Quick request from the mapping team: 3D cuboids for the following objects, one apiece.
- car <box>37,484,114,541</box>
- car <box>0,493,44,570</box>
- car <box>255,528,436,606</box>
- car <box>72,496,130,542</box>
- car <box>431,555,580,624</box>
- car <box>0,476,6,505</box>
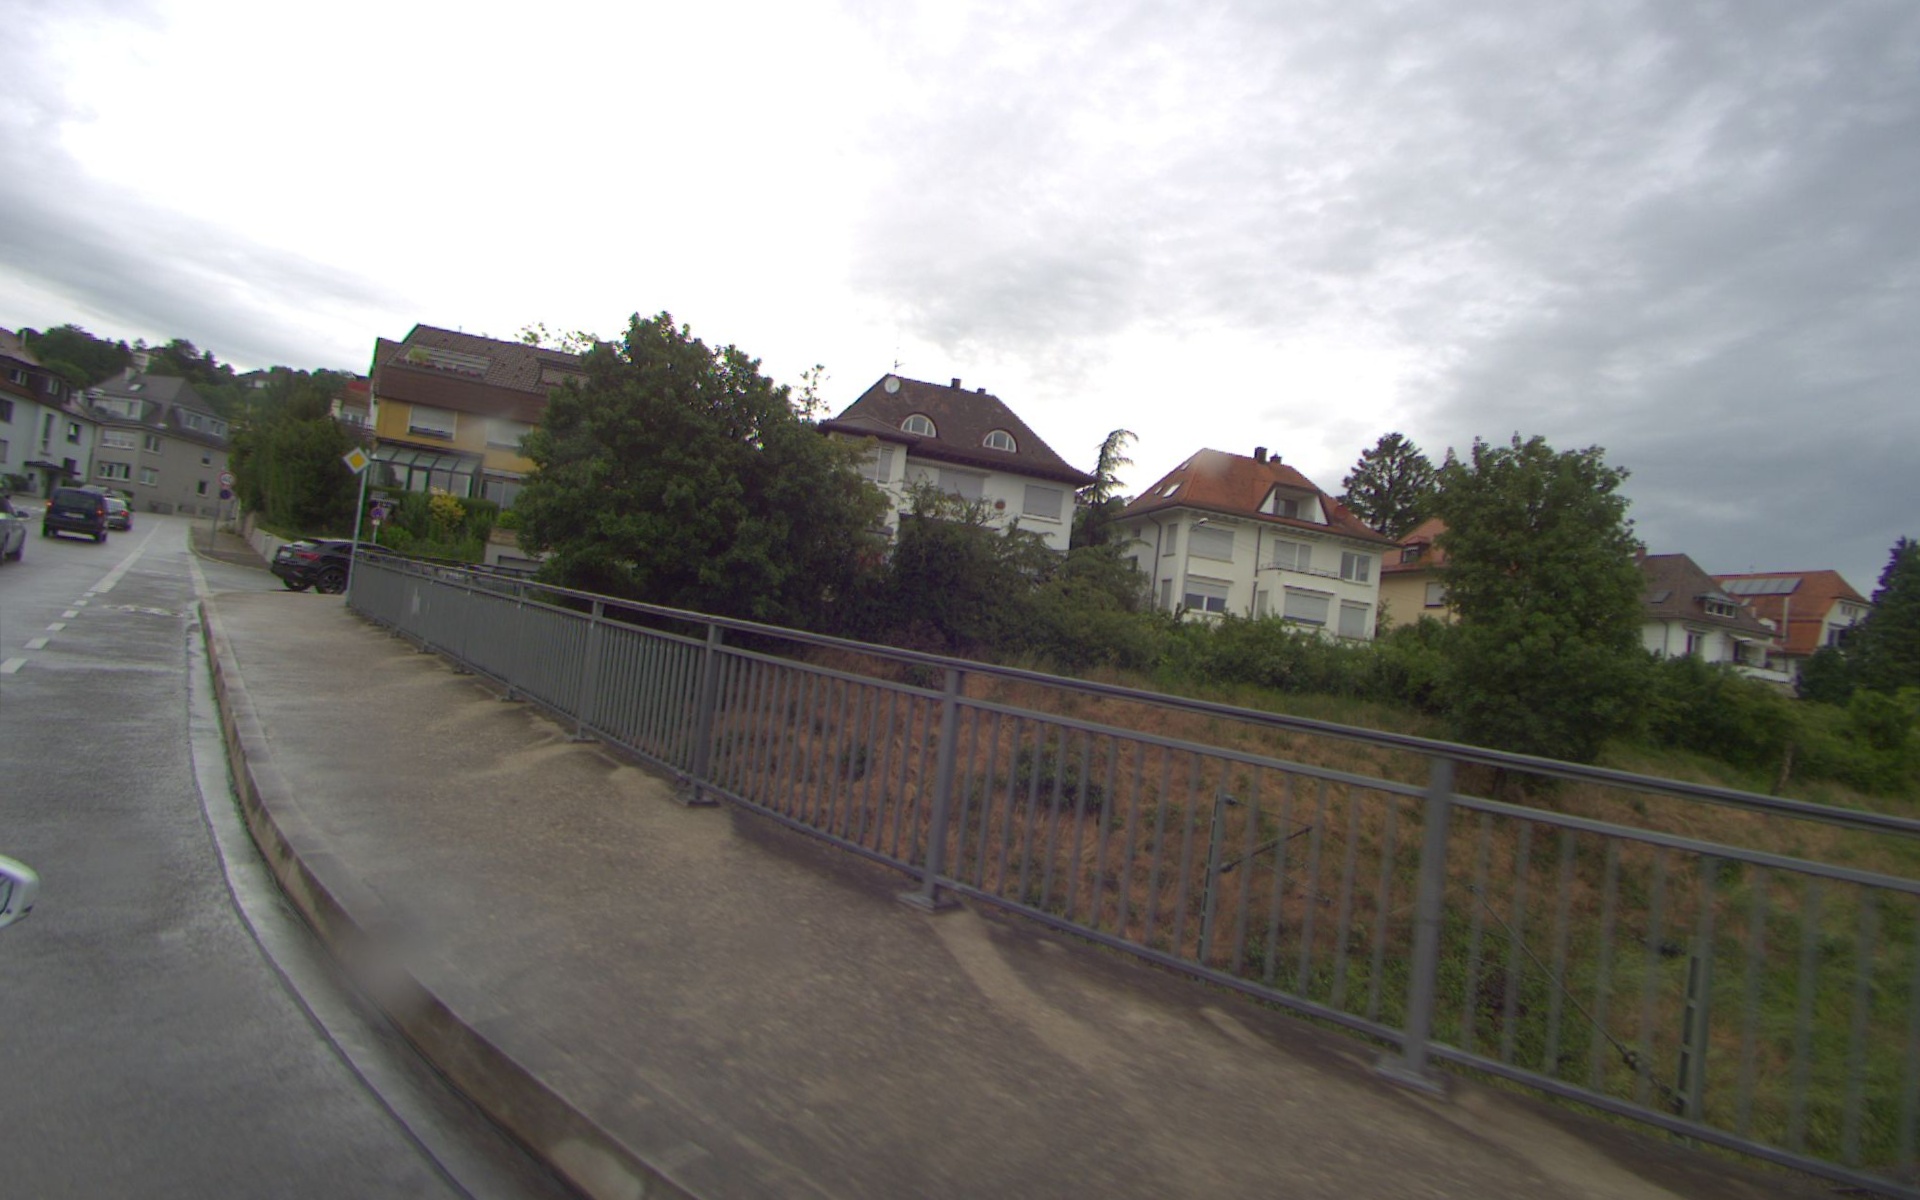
[{"bbox_3d":[-32.522,-3.230,37.061,1.818,1.634,3.742,12,-4,-41],"label":"car"},{"bbox_3d":[-20.116,-1.542,20.466,1.887,1.403,3.955,12,-5,-41],"label":"car"},{"bbox_3d":[-16.830,-0.848,27.764,1.794,1.439,3.789,8,-3,23],"label":"car"},{"bbox_3d":[-41.434,-3.932,48.519,1.818,1.749,3.741,12,-4,-41],"label":"car"},{"bbox_3d":[-14.342,-0.306,31.913,1.802,1.439,3.775,7,-4,41],"label":"car"},{"bbox_3d":[-58.779,-6.756,60.100,1.984,1.728,3.959,8,-1,-37],"label":"car"}]
